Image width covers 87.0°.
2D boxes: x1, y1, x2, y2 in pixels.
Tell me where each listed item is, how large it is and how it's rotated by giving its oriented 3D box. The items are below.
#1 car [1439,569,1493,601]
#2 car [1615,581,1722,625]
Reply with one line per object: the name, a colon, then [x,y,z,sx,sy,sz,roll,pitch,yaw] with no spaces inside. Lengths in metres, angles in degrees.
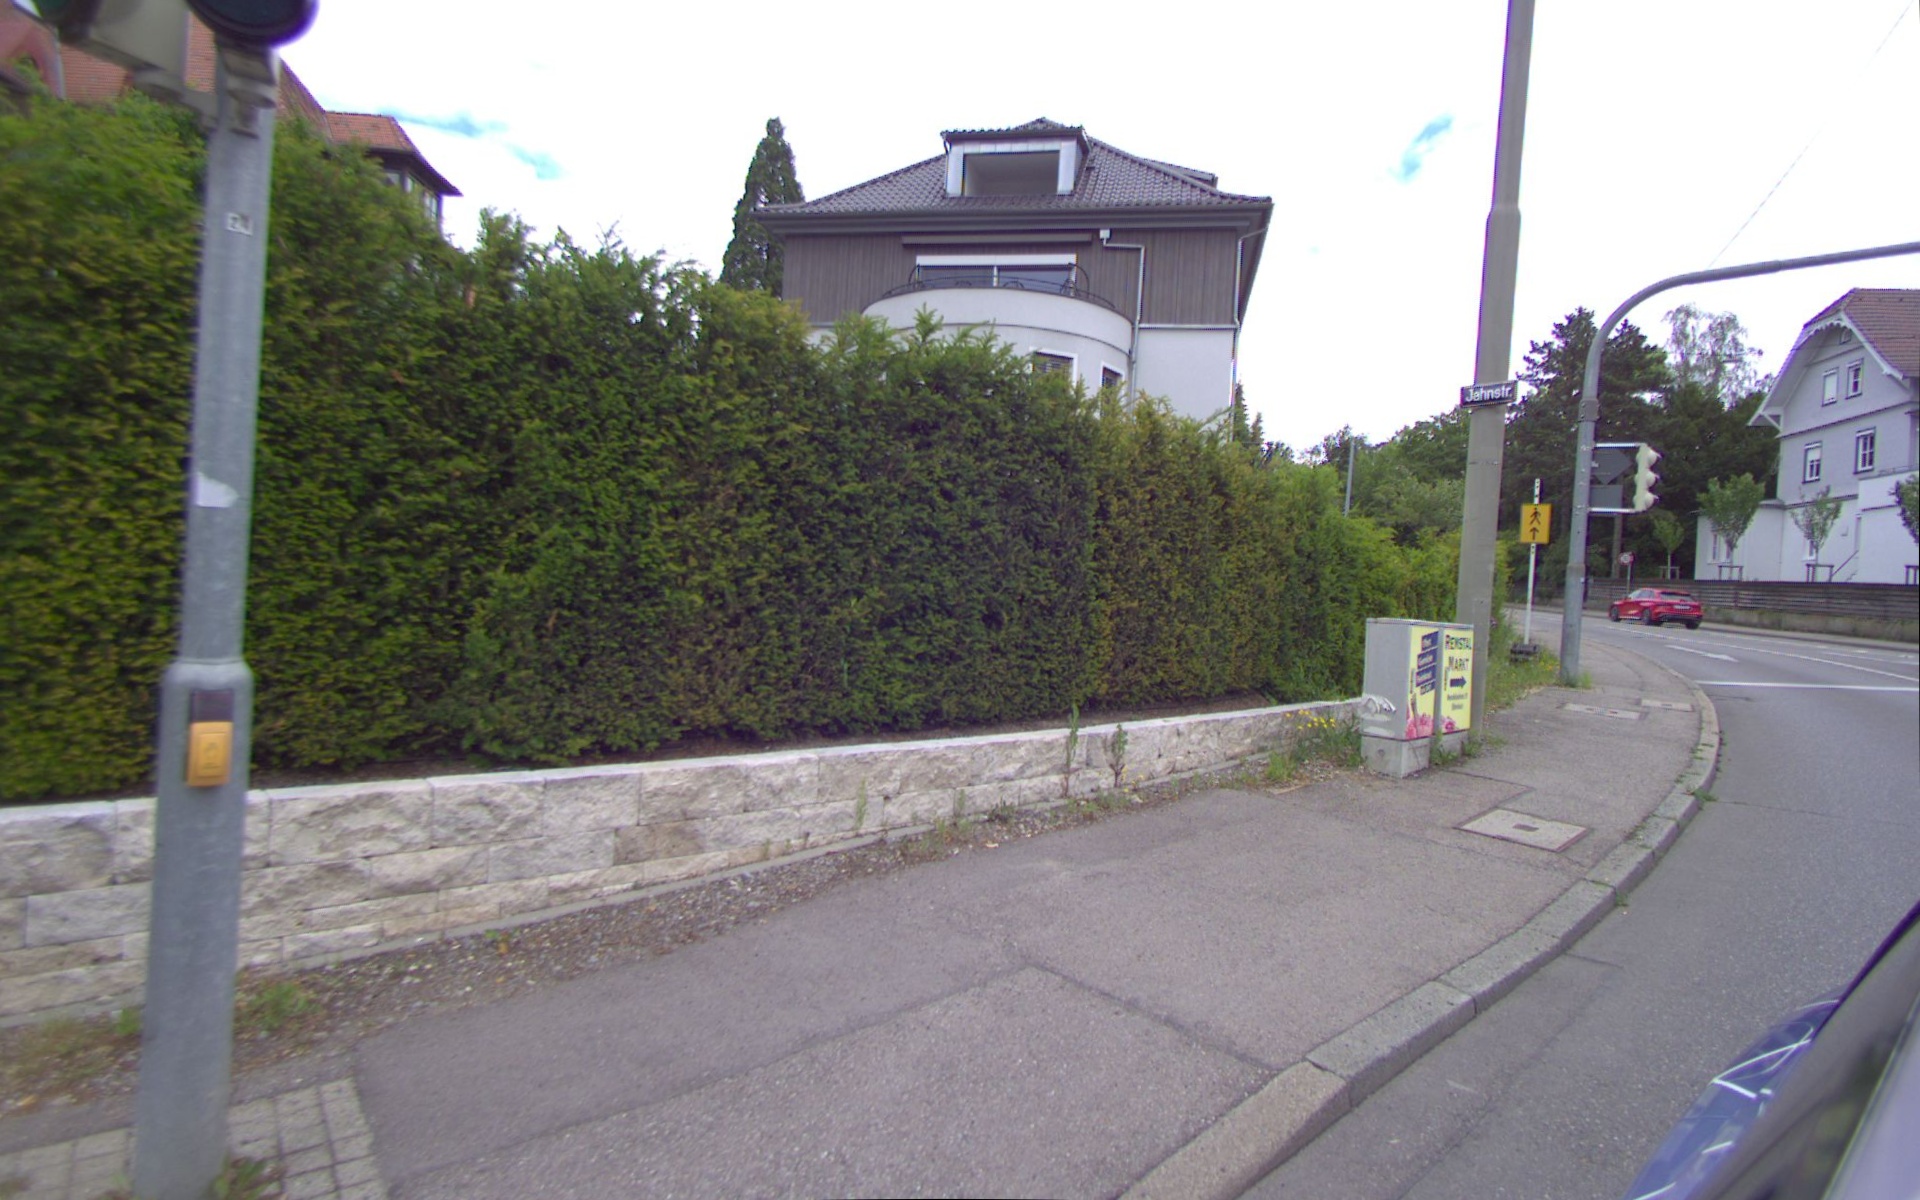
car: [31.069,-0.951,62.215,1.902,1.700,3.560,4,3,11]
car: [27.038,0.072,38.796,1.780,1.372,3.988,5,3,11]
